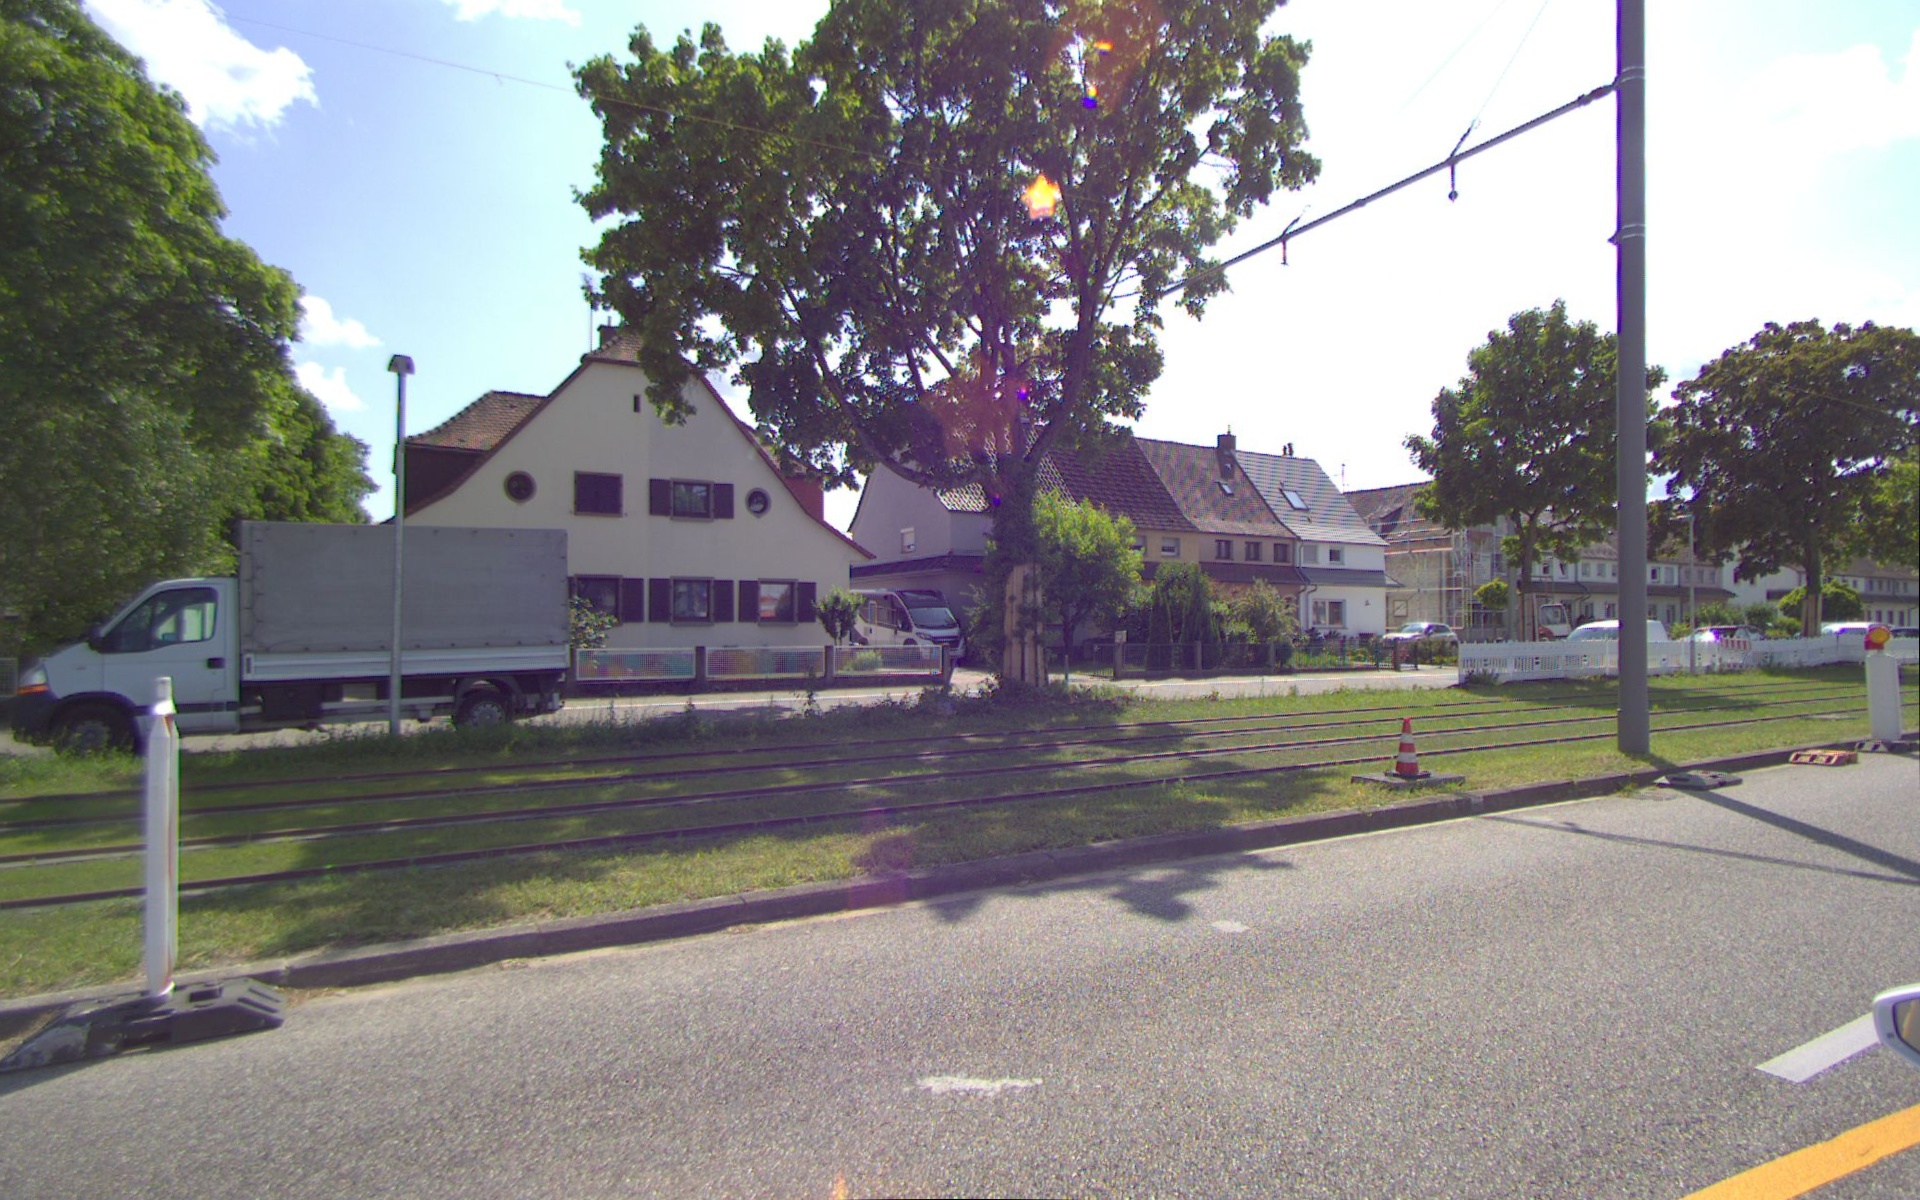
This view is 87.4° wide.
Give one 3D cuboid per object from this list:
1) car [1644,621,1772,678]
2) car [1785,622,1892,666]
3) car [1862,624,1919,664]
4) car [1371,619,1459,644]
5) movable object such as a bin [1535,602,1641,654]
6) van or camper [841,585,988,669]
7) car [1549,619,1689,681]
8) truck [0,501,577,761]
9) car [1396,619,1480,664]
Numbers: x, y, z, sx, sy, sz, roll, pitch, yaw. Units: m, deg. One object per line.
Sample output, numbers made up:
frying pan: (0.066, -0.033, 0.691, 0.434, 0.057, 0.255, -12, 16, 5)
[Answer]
car: (24.651, 1.612, 33.087, 3.953, 1.773, 1.984, 2, -3, -30)
car: (34.176, 1.709, 39.083, 3.953, 1.627, 1.984, 2, -3, -30)
car: (40.666, 1.890, 42.952, 3.953, 1.627, 1.984, 2, -3, -30)
car: (20.351, 1.414, 44.862, 3.935, 1.066, 1.676, 2, -3, -32)
movable object such as a bin: (31.279, 1.399, 50.107, 4.283, 2.482, 1.781, -2, -2, 39)
van or camper: (-1.802, 0.889, 36.949, 2.672, 2.675, 6.055, 1, 2, -33)
car: (19.979, 1.510, 30.434, 3.953, 1.773, 1.984, 2, -3, -30)
truck: (-8.444, 0.425, 13.118, 6.203, 2.803, 1.985, 0, -4, -31)
car: (19.271, 1.665, 40.467, 2.995, 1.744, 1.677, 2, -3, -30)
